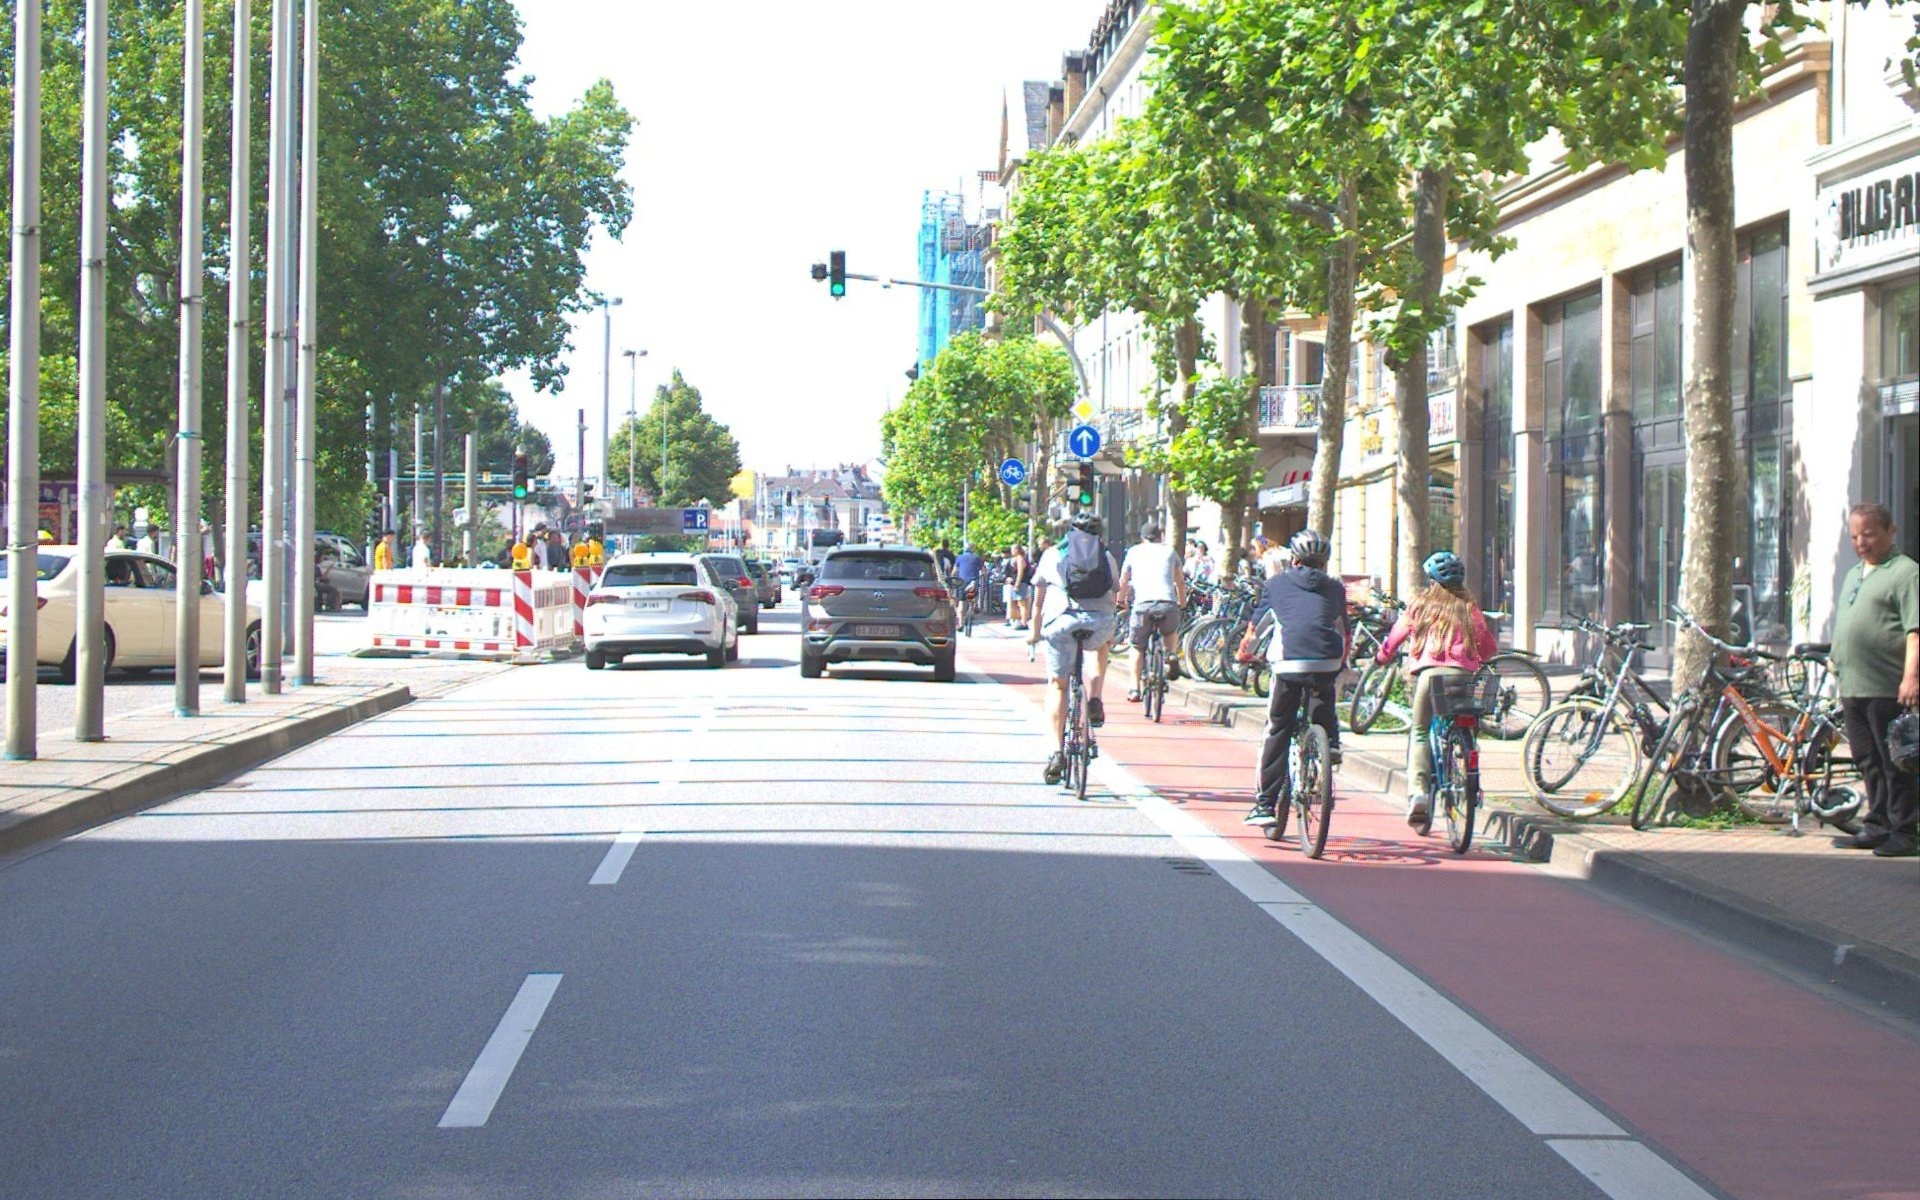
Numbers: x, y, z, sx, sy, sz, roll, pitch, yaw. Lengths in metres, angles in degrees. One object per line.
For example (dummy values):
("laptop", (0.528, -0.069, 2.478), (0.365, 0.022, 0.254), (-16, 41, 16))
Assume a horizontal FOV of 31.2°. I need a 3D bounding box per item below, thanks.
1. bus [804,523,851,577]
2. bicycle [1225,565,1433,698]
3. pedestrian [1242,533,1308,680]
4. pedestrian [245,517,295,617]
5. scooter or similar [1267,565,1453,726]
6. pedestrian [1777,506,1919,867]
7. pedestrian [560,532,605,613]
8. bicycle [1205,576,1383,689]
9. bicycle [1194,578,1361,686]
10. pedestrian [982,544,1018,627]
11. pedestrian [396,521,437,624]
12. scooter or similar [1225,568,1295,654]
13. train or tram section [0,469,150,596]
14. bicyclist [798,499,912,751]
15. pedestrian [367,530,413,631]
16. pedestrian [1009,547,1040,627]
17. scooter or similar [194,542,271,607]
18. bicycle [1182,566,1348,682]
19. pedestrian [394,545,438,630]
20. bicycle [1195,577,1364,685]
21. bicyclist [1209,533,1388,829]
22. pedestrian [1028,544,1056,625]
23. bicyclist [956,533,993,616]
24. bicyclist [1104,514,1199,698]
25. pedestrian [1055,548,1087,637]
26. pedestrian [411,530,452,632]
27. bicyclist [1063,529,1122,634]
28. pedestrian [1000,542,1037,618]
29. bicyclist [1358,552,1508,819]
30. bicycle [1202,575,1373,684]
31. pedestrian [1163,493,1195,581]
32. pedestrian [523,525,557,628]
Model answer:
("bus", (-9.122, -3.375, 236.189), (2.994, 3.582, 11.746), (1, 0, -3))
("bicycle", (3.602, 0.304, 33.635), (1.931, 1.244, 0.736), (1, 1, 0))
("pedestrian", (3.477, 0.067, 38.043), (0.615, 1.607, 0.745), (1, 1, -1))
("pedestrian", (-12.963, -0.616, 64.600), (0.633, 1.852, 0.686), (1, 0, 19))
("scooter or similar", (3.345, 0.370, 28.710), (1.475, 1.270, 0.670), (2, 0, 9))
("pedestrian", (4.459, 0.406, 16.648), (0.639, 1.683, 0.843), (3, 1, -5))
("pedestrian", (-7.454, -0.543, 67.894), (0.633, 1.590, 0.686), (1, 0, 19))
("bicycle", (3.404, 0.326, 35.111), (1.728, 1.105, 0.736), (1, 1, 0))
("bicycle", (3.393, 0.338, 36.797), (1.728, 1.105, 0.477), (1, 1, 0))
("pedestrian", (0.863, -0.310, 73.620), (0.610, 1.733, 0.678), (-4, 0, -4))
("pedestrian", (-9.539, -0.476, 60.343), (0.539, 1.773, 0.606), (2, 0, 4))
("scooter or similar", (4.185, 0.148, 48.060), (0.420, 1.174, 1.232), (1, 1, -23))
("train or tram section", (-29.855, -1.977, 98.461), (2.618, 3.664, 15.519), (2, 1, 32))
("bicyclist", (-0.651, 0.144, 20.961), (0.630, 1.476, 1.198), (1, 0, -3))
("pedestrian", (-9.881, -0.339, 59.607), (0.539, 1.712, 0.606), (2, 0, -33))
("pedestrian", (1.461, -0.297, 78.162), (0.610, 1.817, 0.678), (1, 0, -4))
("scooter or similar", (-16.036, -0.564, 75.817), (1.278, 1.416, 1.037), (1, 0, 28))
("bicycle", (3.295, 0.257, 37.155), (1.728, 1.213, 0.477), (1, 1, 0))
("pedestrian", (-11.632, -0.267, 73.466), (0.633, 1.804, 0.730), (1, 0, 19))
("bicycle", (3.376, 0.328, 36.377), (1.728, 1.105, 0.402), (1, 1, 0))
("bicyclist", (1.696, 0.396, 17.322), (0.698, 1.436, 0.791), (2, 0, -6))
("pedestrian", (1.563, -0.295, 65.412), (0.522, 1.516, 0.641), (0, 0, 1))
("bicyclist", (0.270, -0.483, 65.005), (0.647, 1.545, 0.817), (1, 1, -3))
("bicyclist", (1.727, 0.046, 31.129), (0.774, 1.629, 0.851), (0, 1, -2))
("pedestrian", (2.034, -0.139, 63.032), (0.549, 1.625, 0.589), (0, 0, 1))
("pedestrian", (-9.128, -0.333, 59.417), (0.429, 1.734, 0.606), (2, 0, -33))
("bicyclist", (2.296, -0.324, 59.578), (0.573, 1.791, 0.857), (-2, 1, -37))
("pedestrian", (1.210, -0.407, 70.681), (0.610, 1.510, 0.678), (-4, 0, -4))
("bicyclist", (2.475, 0.437, 18.037), (0.600, 1.353, 0.721), (1, 1, -5))
("bicycle", (3.419, 0.305, 35.964), (1.728, 1.105, 0.402), (1, 1, 0))
("pedestrian", (4.100, -1.170, 64.339), (0.549, 1.634, 0.589), (0, 0, 1))
("pedestrian", (-7.865, -0.439, 64.400), (0.531, 1.912, 0.560), (1, 0, 0))
